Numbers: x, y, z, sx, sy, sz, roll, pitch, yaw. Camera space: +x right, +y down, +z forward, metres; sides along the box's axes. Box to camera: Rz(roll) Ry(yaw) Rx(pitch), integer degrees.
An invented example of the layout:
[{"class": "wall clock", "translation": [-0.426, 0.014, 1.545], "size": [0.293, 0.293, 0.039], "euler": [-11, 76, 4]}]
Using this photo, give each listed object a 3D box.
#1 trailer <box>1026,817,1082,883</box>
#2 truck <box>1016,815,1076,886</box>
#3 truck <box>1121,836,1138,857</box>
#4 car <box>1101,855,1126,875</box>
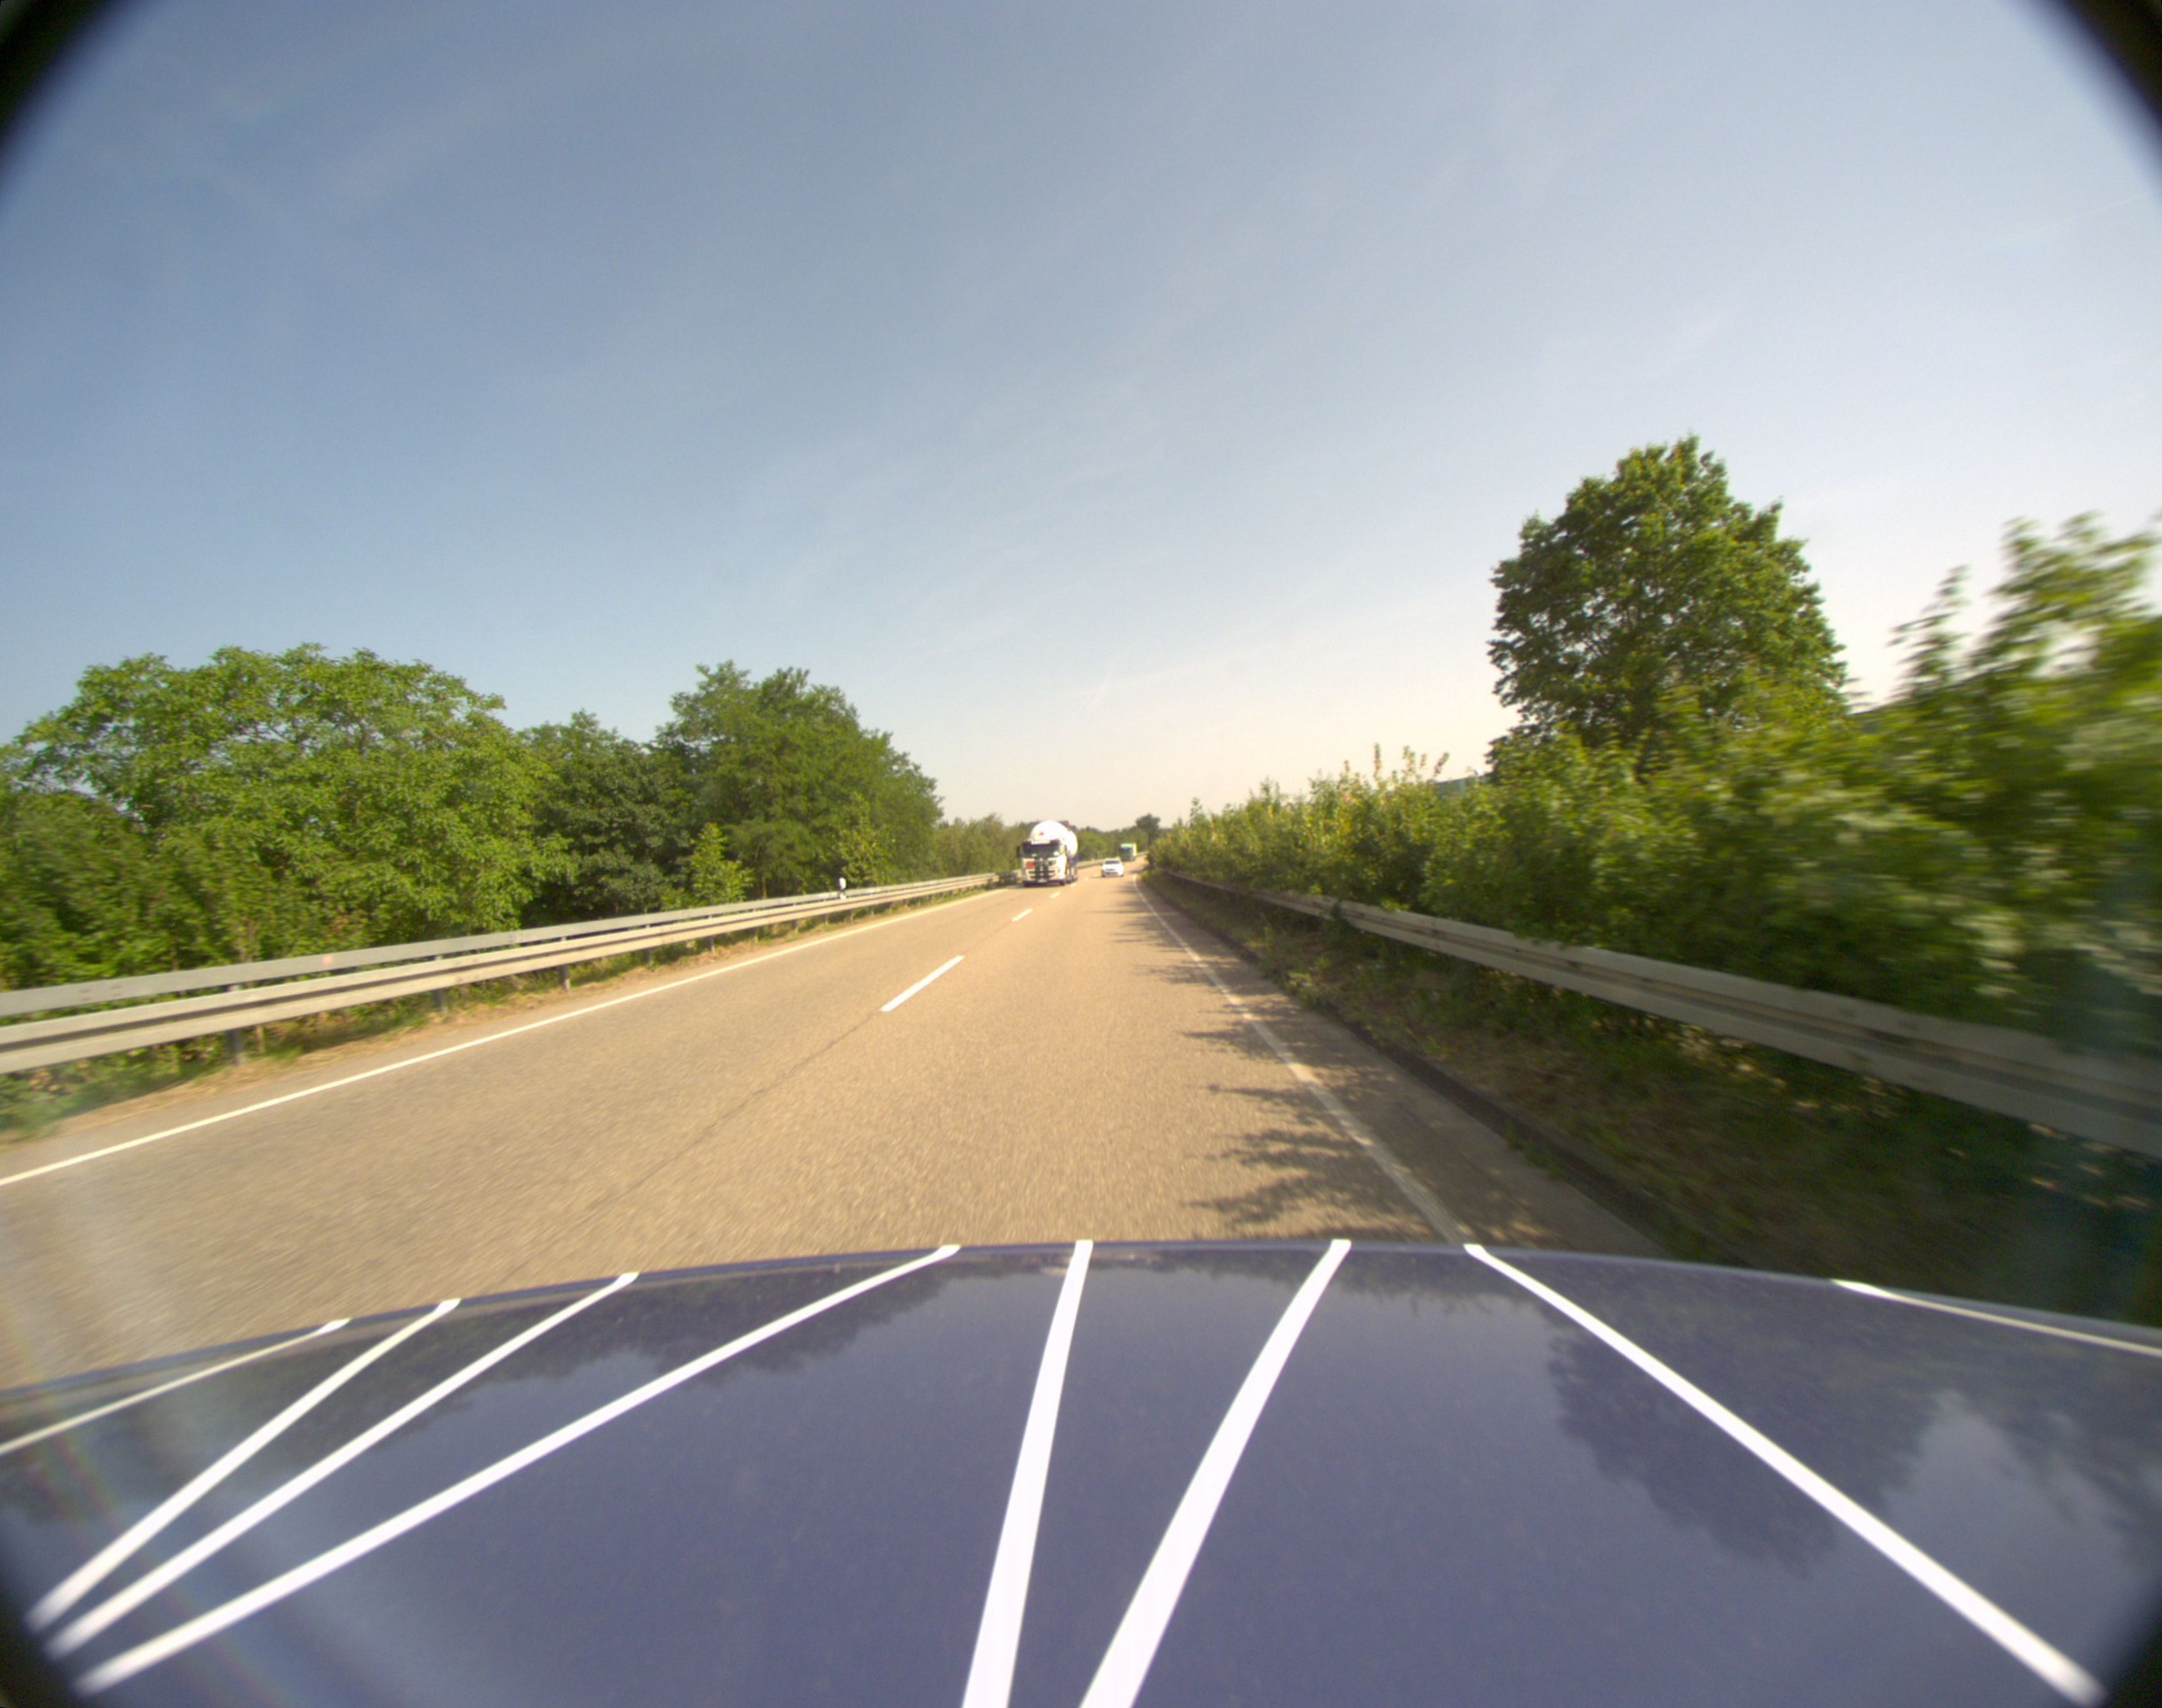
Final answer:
[{"class": "trailer", "translation": [-1.639, -0.258, 50.942], "size": [2.763, 3.968, 8.187], "euler": [-2, 1, 4]}, {"class": "truck", "translation": [-1.999, -0.228, 45.598], "size": [2.778, 3.939, 5.628], "euler": [-2, 1, 4]}, {"class": "truck", "translation": [9.713, -1.547, 152.177], "size": [2.547, 4.136, 8.443], "euler": [-2, 1, 8]}, {"class": "car", "translation": [2.667, 0.877, 62.184], "size": [1.788, 1.427, 4.001], "euler": [-3, 1, 5]}]
